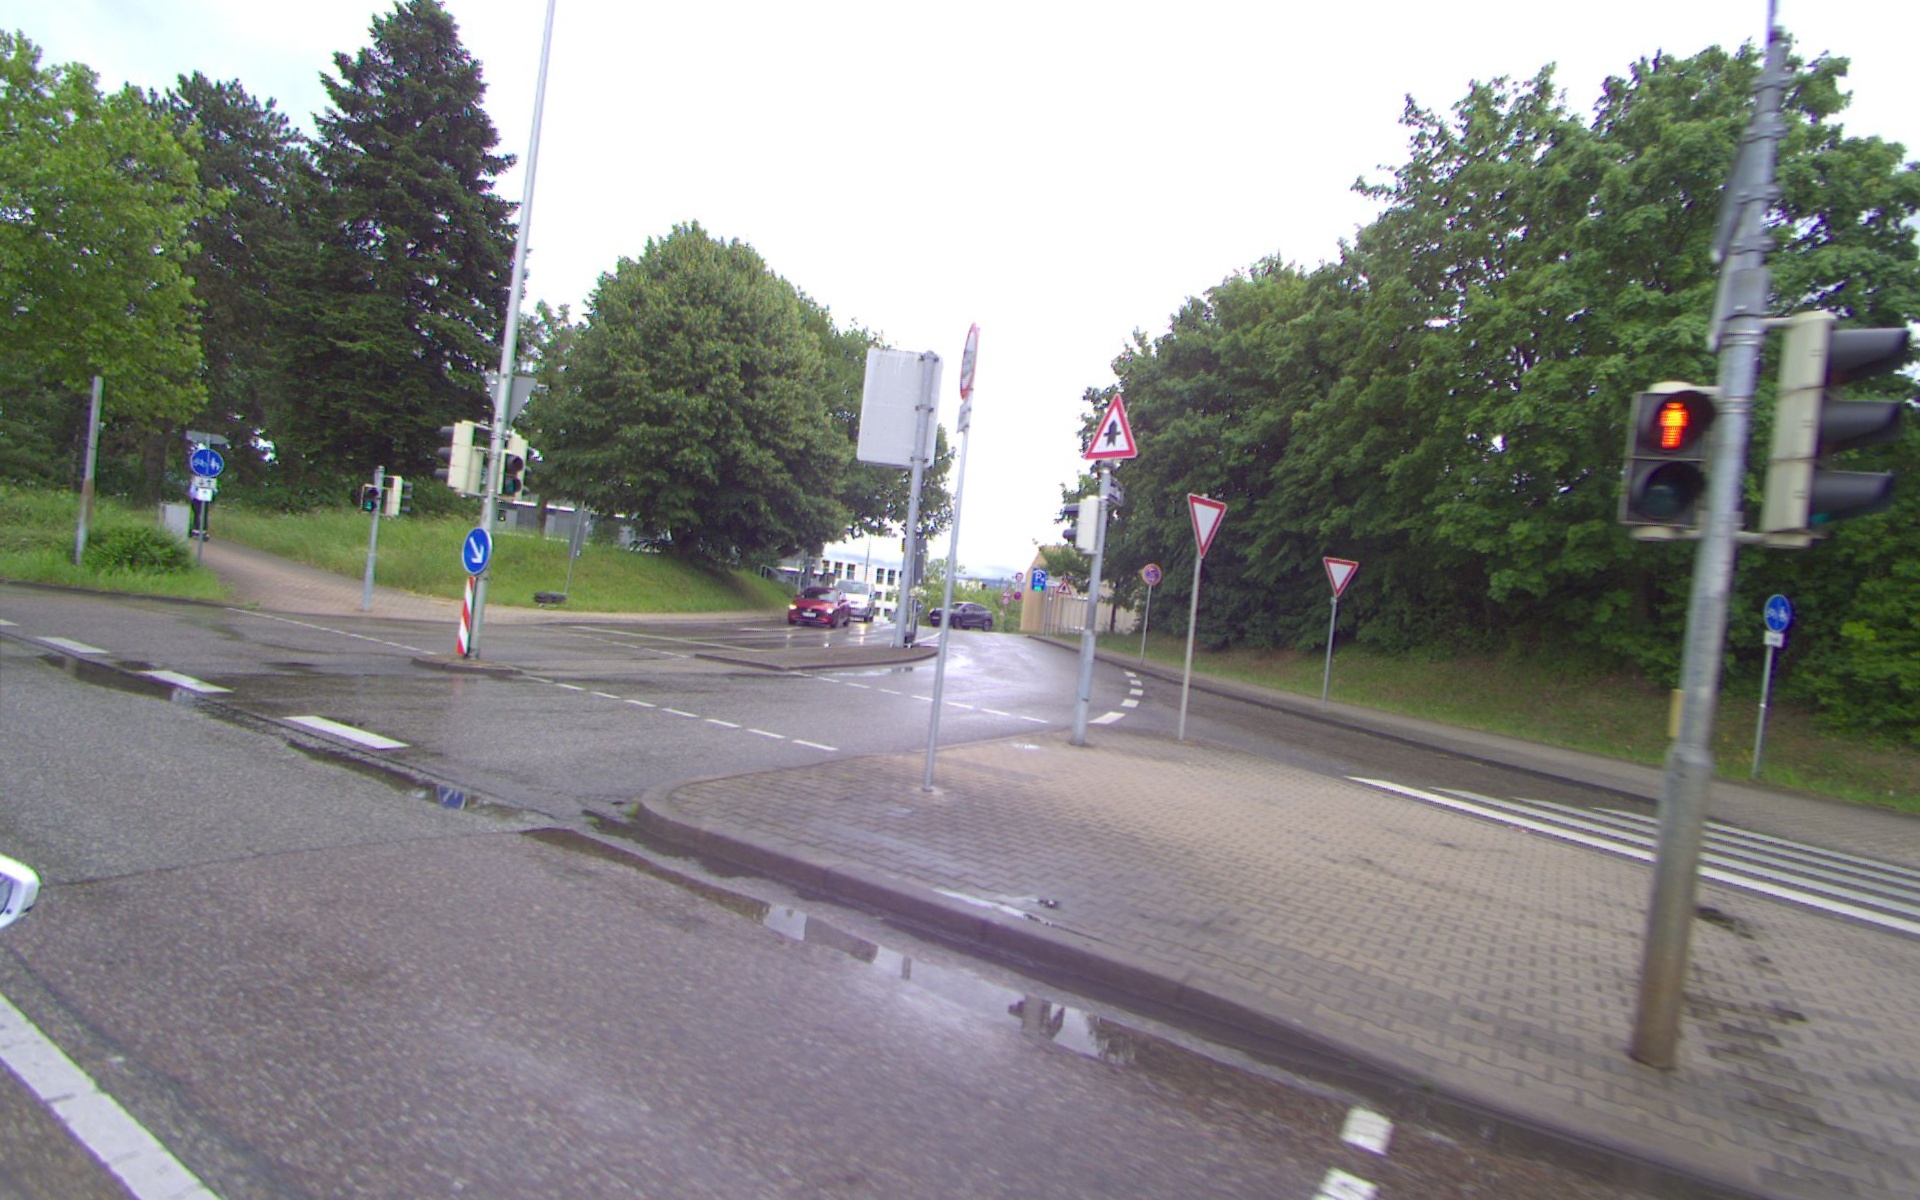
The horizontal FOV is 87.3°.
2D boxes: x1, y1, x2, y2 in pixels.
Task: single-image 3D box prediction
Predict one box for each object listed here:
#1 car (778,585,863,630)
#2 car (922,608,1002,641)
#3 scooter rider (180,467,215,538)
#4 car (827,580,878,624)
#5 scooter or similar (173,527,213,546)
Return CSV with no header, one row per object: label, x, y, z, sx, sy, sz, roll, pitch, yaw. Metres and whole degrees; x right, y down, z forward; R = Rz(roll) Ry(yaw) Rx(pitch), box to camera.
car,-5.155,0.290,37.752,1.817,1.447,4.000,5,1,11
car,0.109,1.356,55.280,3.949,1.447,1.840,5,1,-27
scooter rider,-22.364,-2.853,29.514,0.538,1.990,0.501,8,1,31
car,-5.085,0.085,48.023,1.818,1.883,3.998,5,1,1
scooter or similar,-22.542,-1.878,29.570,1.235,0.408,0.487,7,0,31
